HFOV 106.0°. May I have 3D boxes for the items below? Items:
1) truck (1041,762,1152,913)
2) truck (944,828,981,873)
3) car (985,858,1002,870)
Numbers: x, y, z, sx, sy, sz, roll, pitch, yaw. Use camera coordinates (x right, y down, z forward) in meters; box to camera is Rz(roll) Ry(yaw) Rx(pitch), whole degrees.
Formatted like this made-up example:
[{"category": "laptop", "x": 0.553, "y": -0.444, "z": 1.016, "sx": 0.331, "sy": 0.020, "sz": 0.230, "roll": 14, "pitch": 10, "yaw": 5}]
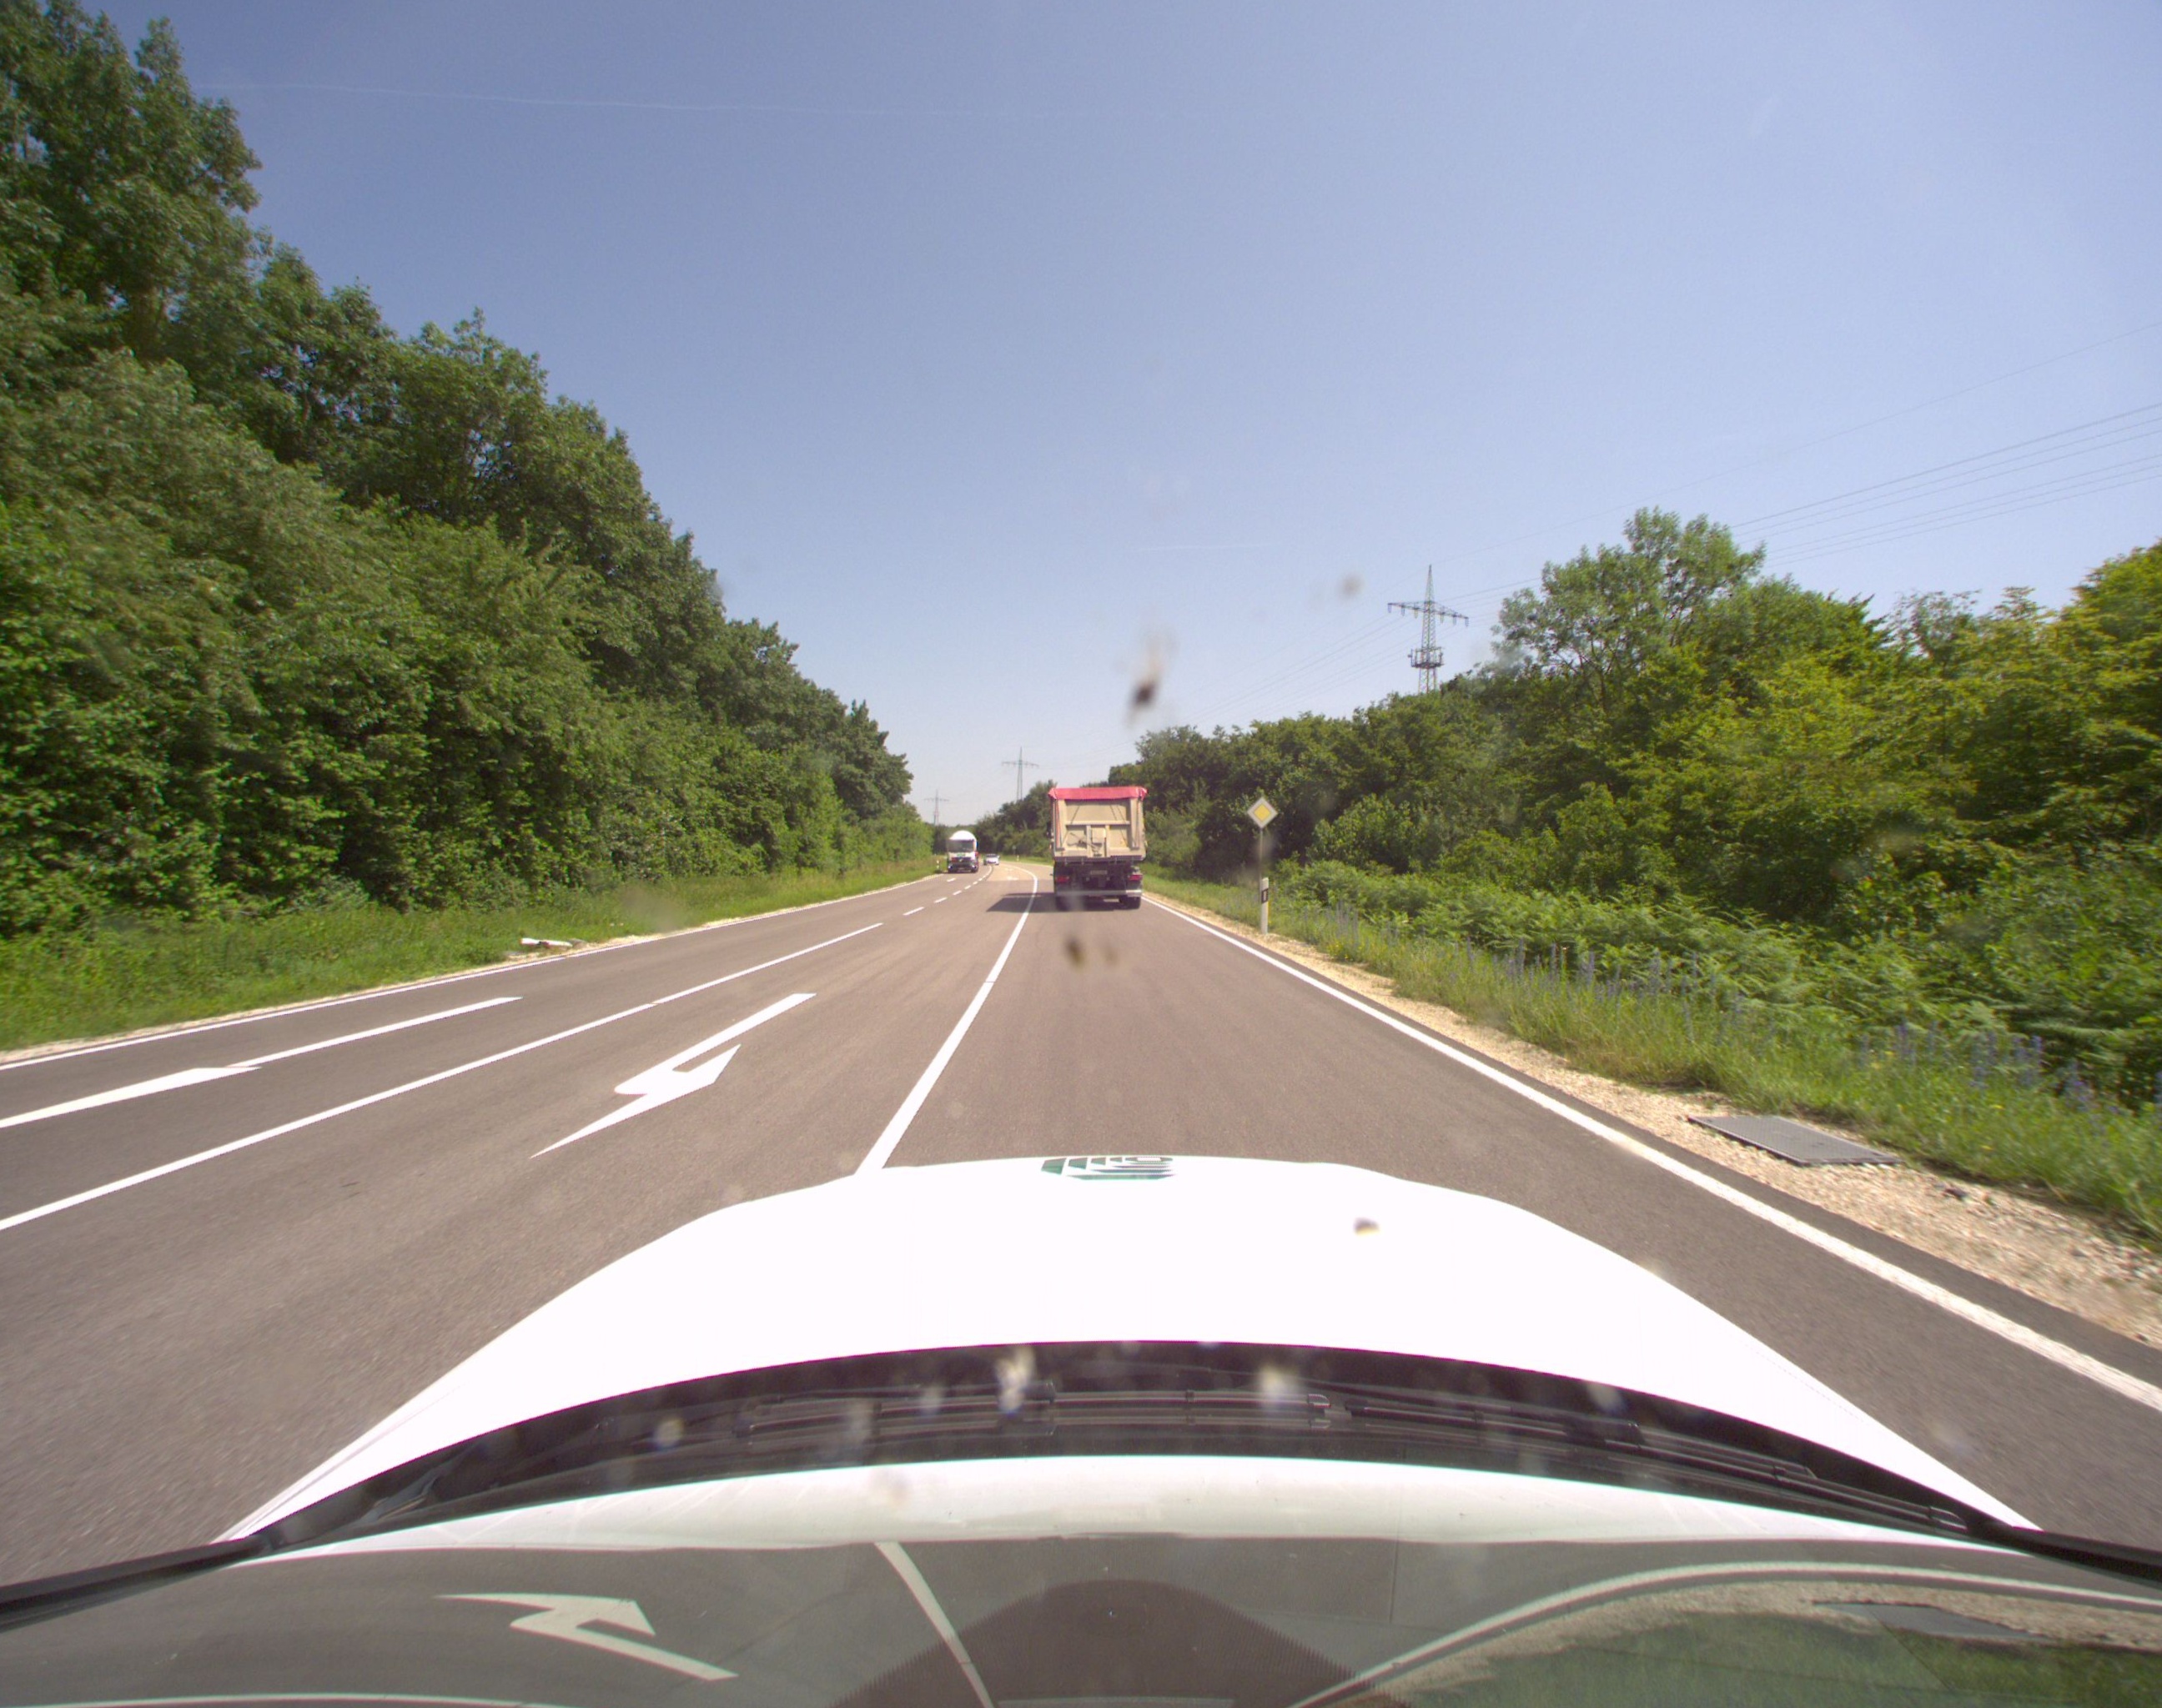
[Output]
[{"category": "truck", "x": 0.329, "y": -0.484, "z": 27.482, "sx": 2.885, "sy": 3.962, "sz": 11.927, "roll": -1, "pitch": 0, "yaw": -1}, {"category": "truck", "x": -10.360, "y": -0.252, "z": 71.919, "sx": 2.622, "sy": 3.671, "sz": 8.782, "roll": -1, "pitch": 0, "yaw": -4}, {"category": "car", "x": -11.233, "y": 1.264, "z": 104.608, "sx": 1.703, "sy": 1.419, "sz": 4.097, "roll": -1, "pitch": -1, "yaw": 0}]
